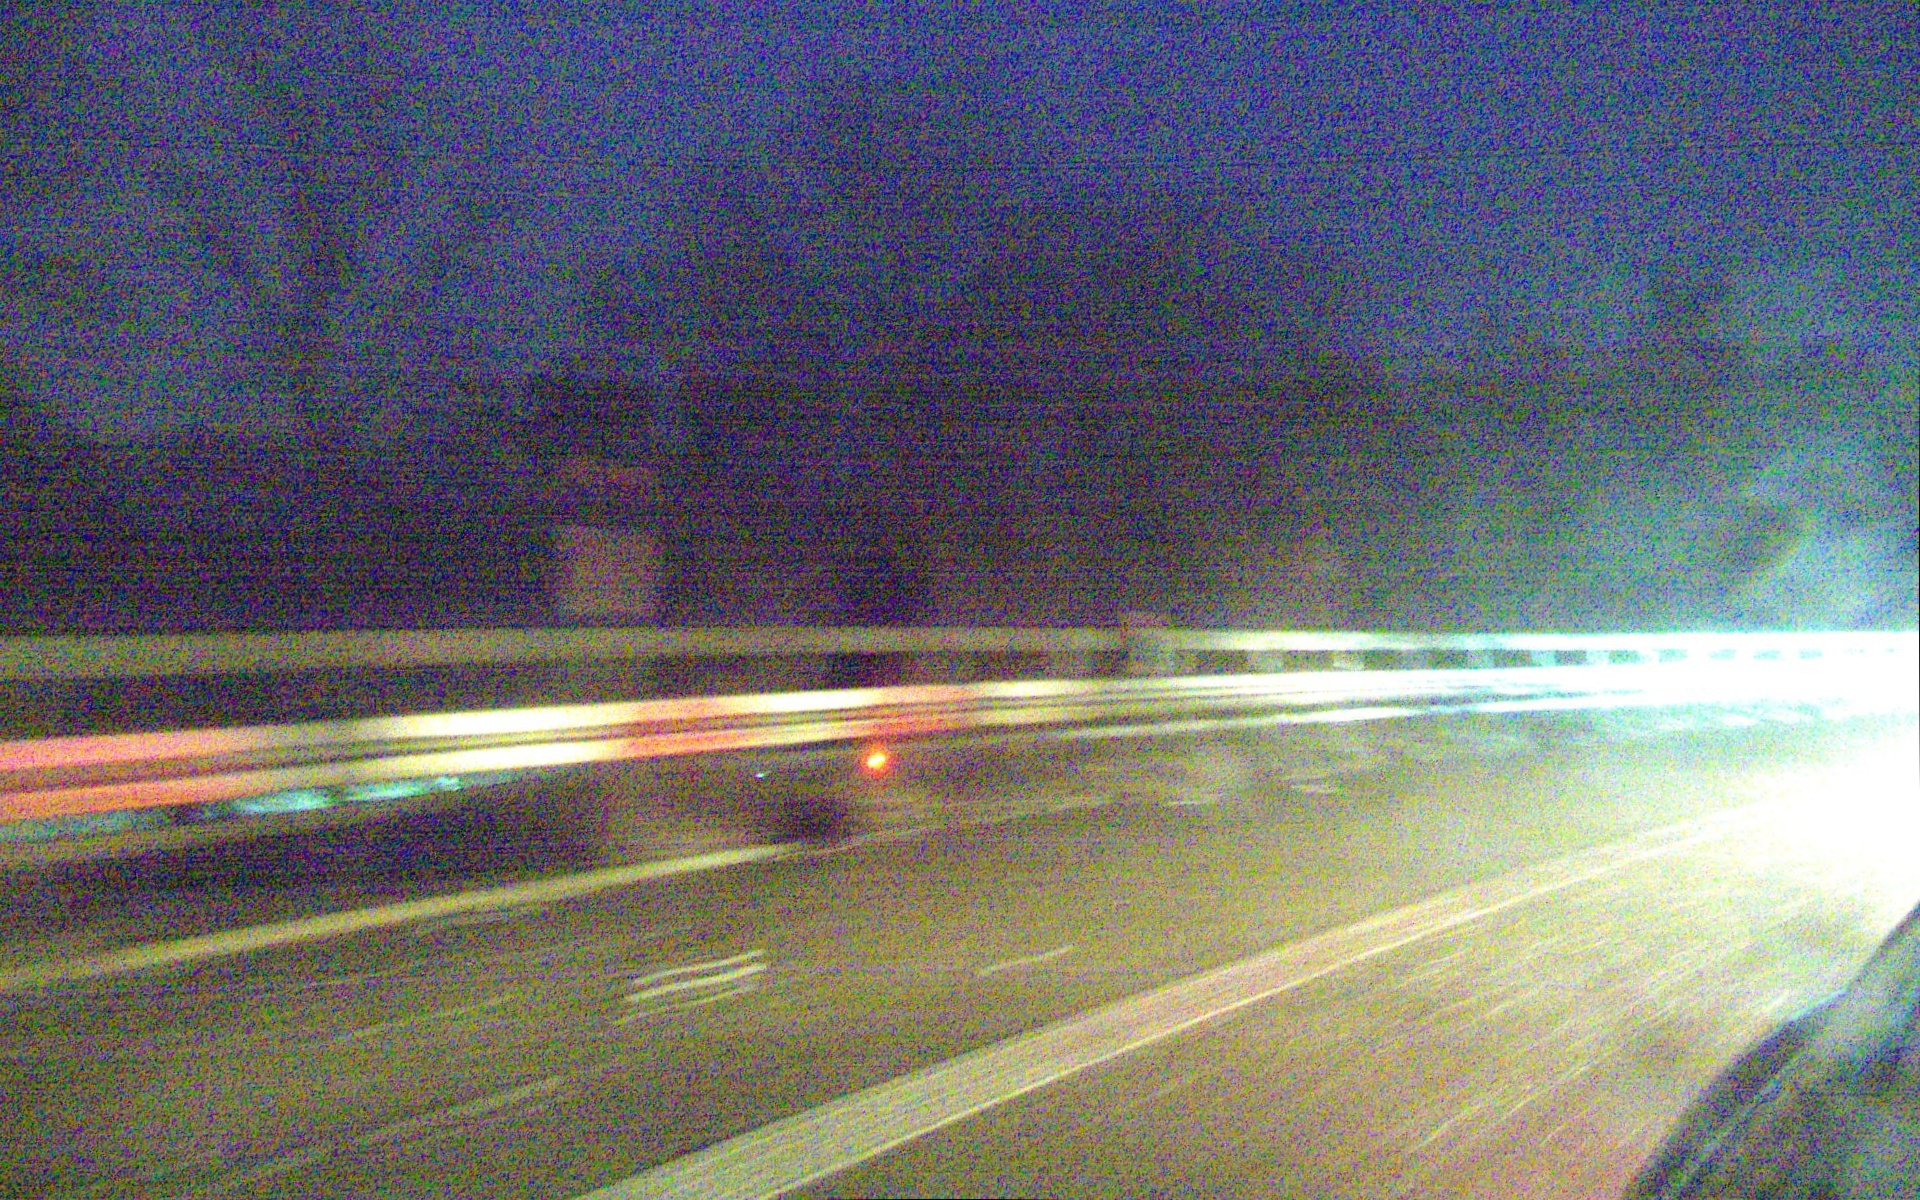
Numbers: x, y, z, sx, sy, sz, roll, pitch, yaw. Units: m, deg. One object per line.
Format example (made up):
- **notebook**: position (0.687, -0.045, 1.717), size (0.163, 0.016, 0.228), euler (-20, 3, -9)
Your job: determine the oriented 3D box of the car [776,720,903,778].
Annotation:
- **car**: position (-4.192, 5.192, 35.376), size (4.052, 1.706, 1.737), euler (-3, -4, 9)
